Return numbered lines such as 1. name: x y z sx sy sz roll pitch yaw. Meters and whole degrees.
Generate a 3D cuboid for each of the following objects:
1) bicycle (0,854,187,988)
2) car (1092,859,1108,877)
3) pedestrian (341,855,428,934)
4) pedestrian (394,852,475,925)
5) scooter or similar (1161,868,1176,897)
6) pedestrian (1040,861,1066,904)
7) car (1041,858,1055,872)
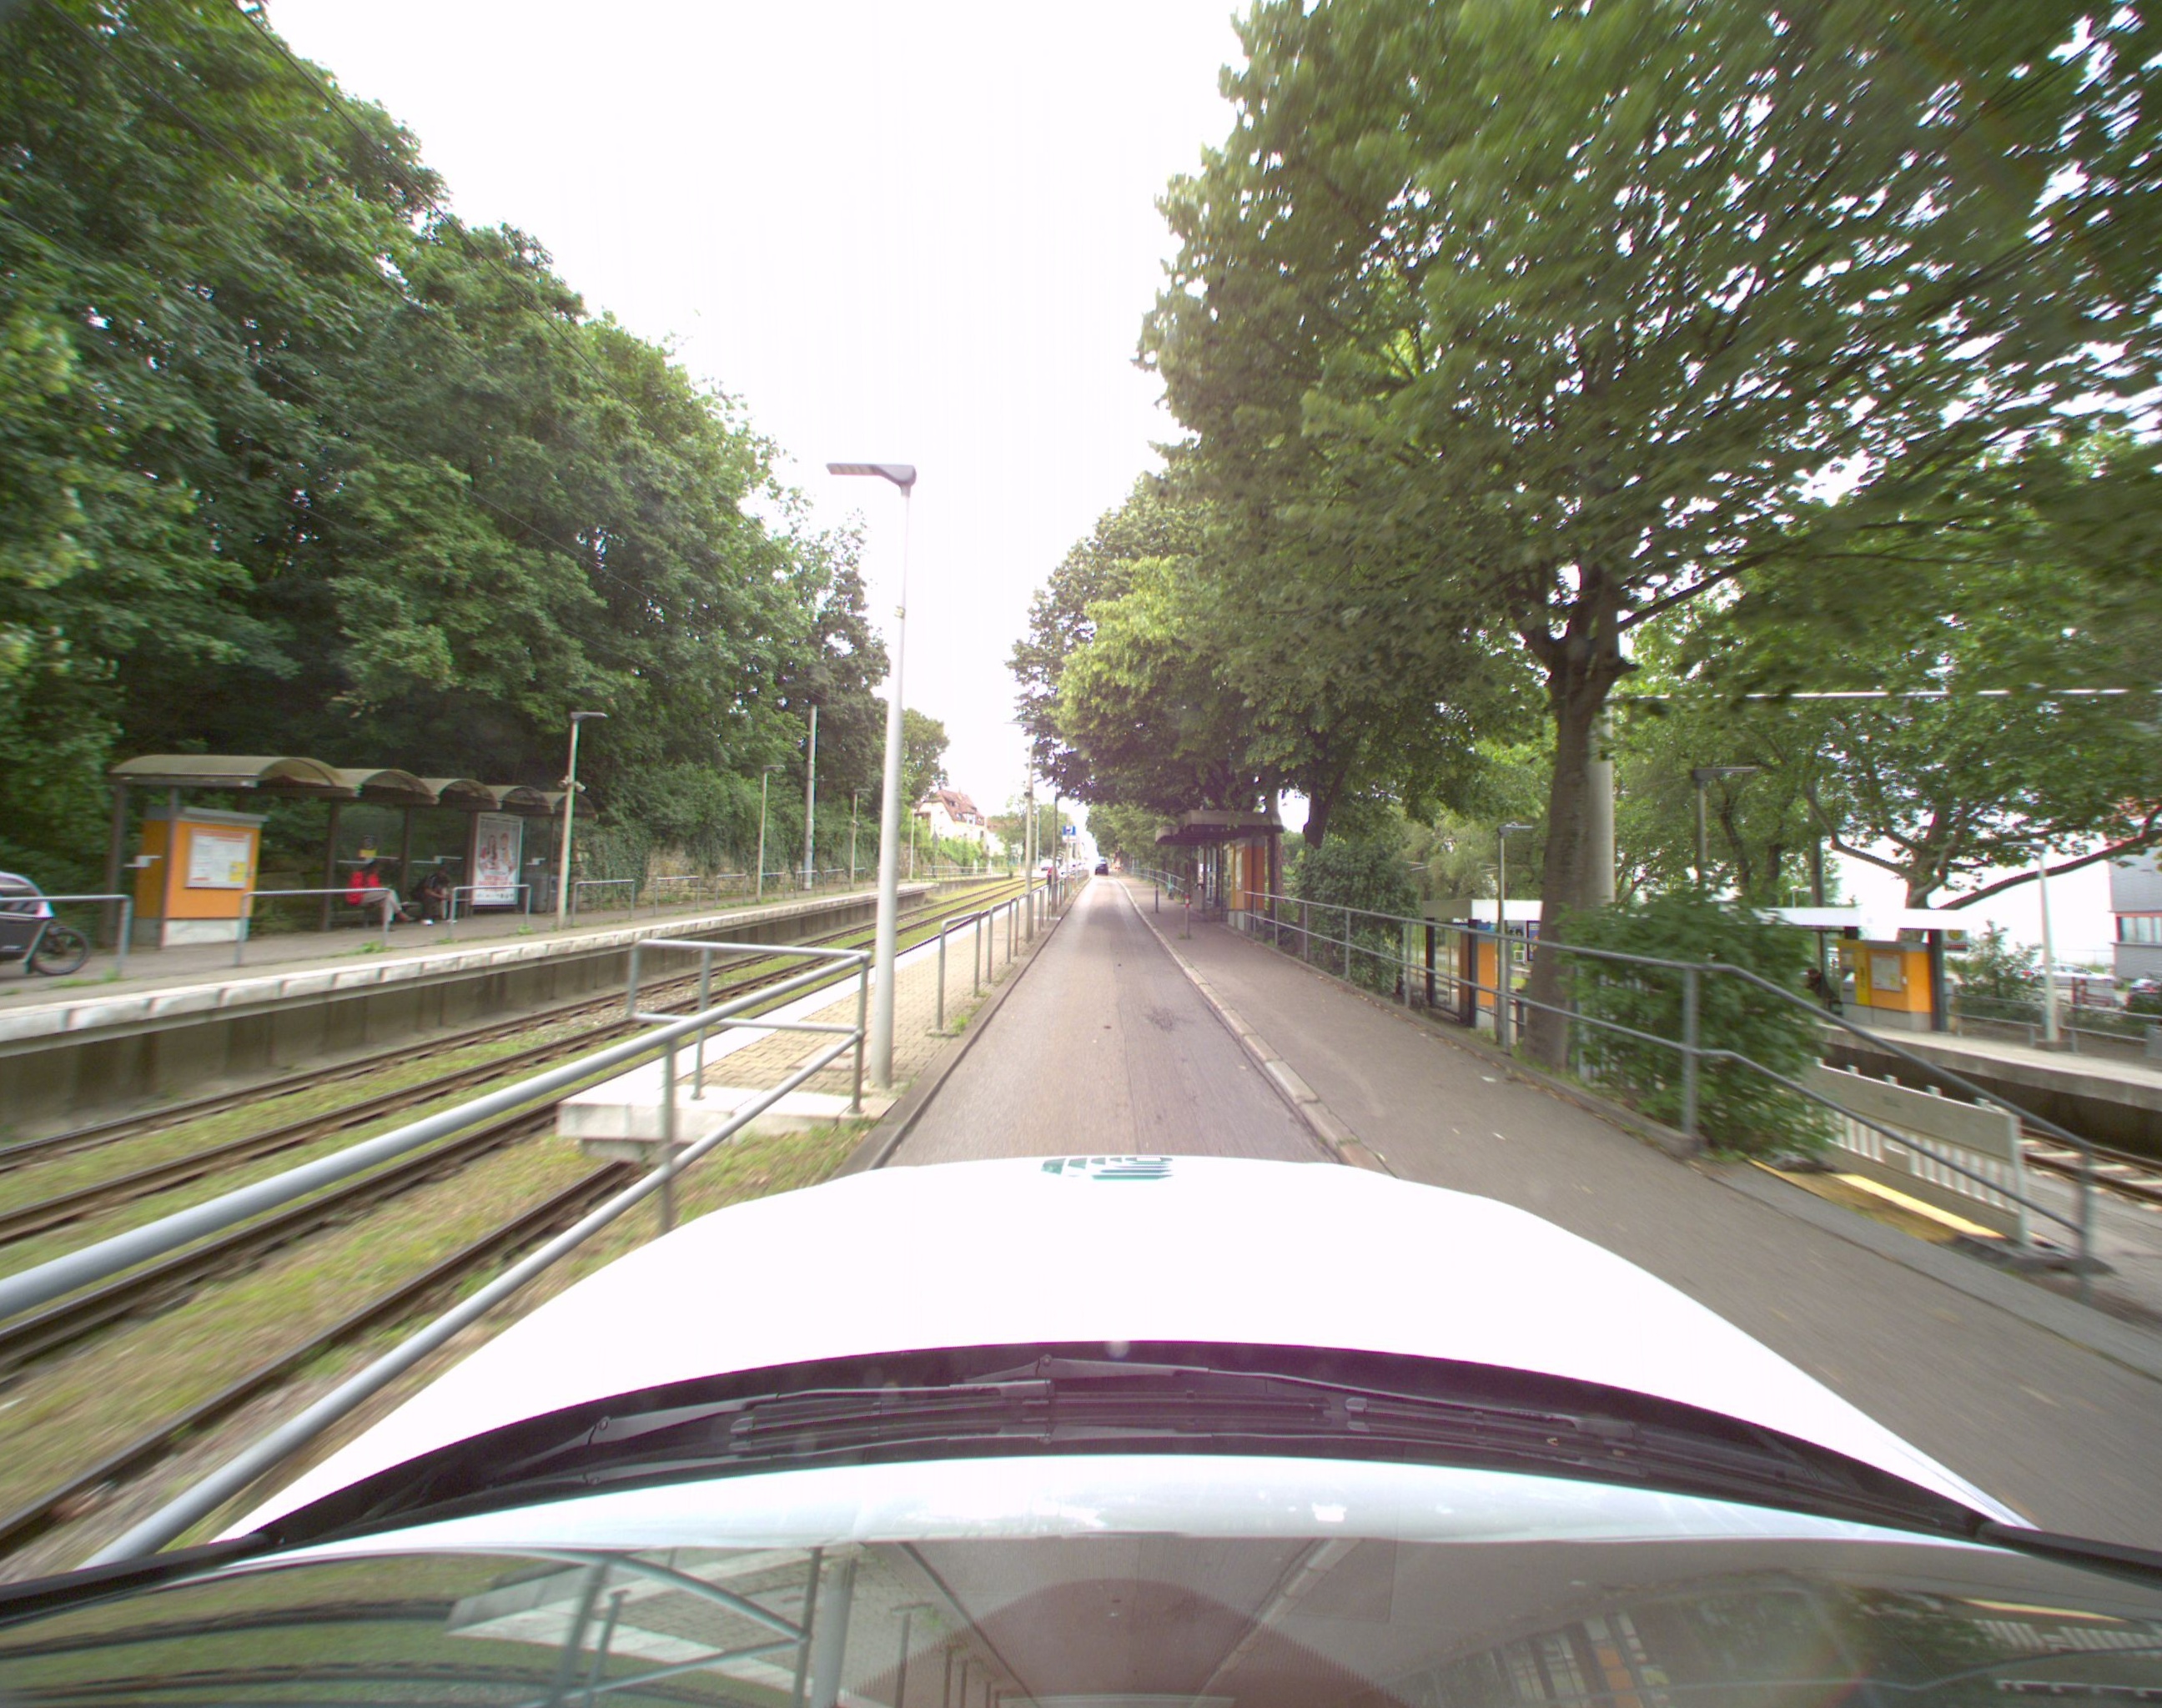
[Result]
1. bicycle: -11.212 0.679 8.078 0.730 1.289 3.350 4 1 4
2. car: 2.641 1.896 110.888 1.986 2.146 3.999 4 -3 1
3. pedestrian: -12.519 0.716 14.659 0.769 1.326 0.787 4 -1 1
4. pedestrian: -12.467 0.668 15.728 0.769 1.326 0.787 4 -3 1
5. scooter or similar: 3.688 1.200 34.280 0.342 1.157 1.144 5 -3 -5
6. pedestrian: -0.971 0.978 28.207 0.740 1.409 0.747 4 0 1
7. car: -5.560 1.837 136.735 1.986 2.146 3.999 4 -3 1
